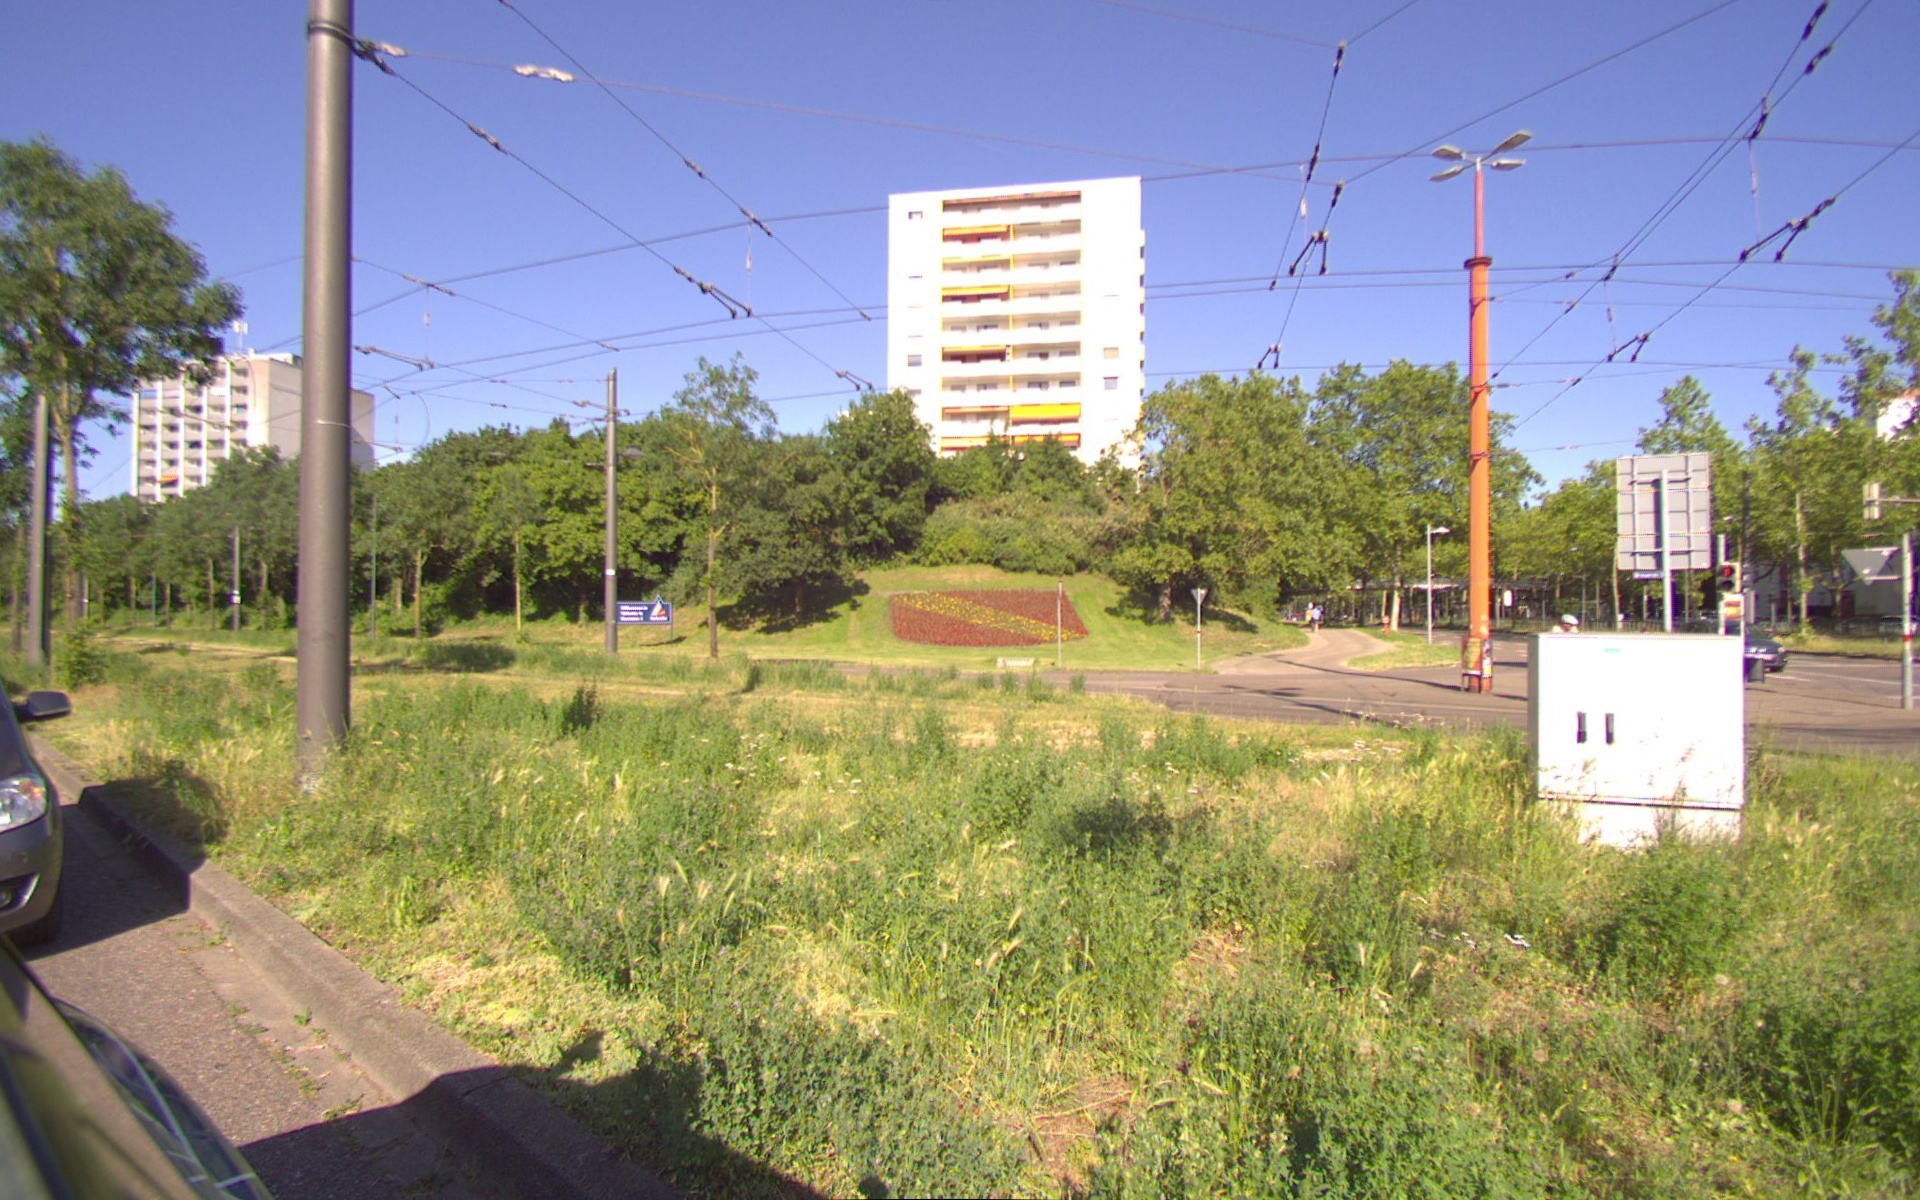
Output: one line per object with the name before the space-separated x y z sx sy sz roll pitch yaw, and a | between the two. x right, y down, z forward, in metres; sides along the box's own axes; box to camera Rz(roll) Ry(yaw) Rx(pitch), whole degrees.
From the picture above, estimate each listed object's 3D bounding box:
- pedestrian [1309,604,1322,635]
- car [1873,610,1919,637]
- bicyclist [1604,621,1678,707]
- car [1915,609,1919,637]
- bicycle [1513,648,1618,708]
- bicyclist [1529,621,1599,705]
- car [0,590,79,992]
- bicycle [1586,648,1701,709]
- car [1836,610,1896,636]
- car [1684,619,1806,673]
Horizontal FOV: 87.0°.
pedestrian | 22.854 1.263 65.021 0.729 1.949 0.726 -1 -2 24
car | 65.257 1.637 69.857 3.931 1.829 2.006 0 -2 -27
bicyclist | 13.360 1.237 19.875 0.920 1.650 0.741 0 -1 -1
car | 64.414 1.500 65.894 3.931 1.829 2.006 0 -2 -27
bicycle | 12.098 1.531 20.311 0.915 1.095 1.888 0 -1 -2
bicyclist | 12.103 1.254 20.294 0.920 1.650 0.741 0 -1 -1
car | -5.934 0.794 5.036 4.382 1.619 1.754 -1 -2 41
bicycle | 13.365 1.516 19.879 0.915 1.095 1.888 0 -1 -2
car | 66.025 1.693 73.753 3.931 1.829 2.006 0 -2 -27
car | 24.971 1.435 32.369 1.928 1.606 3.882 -1 -1 20
